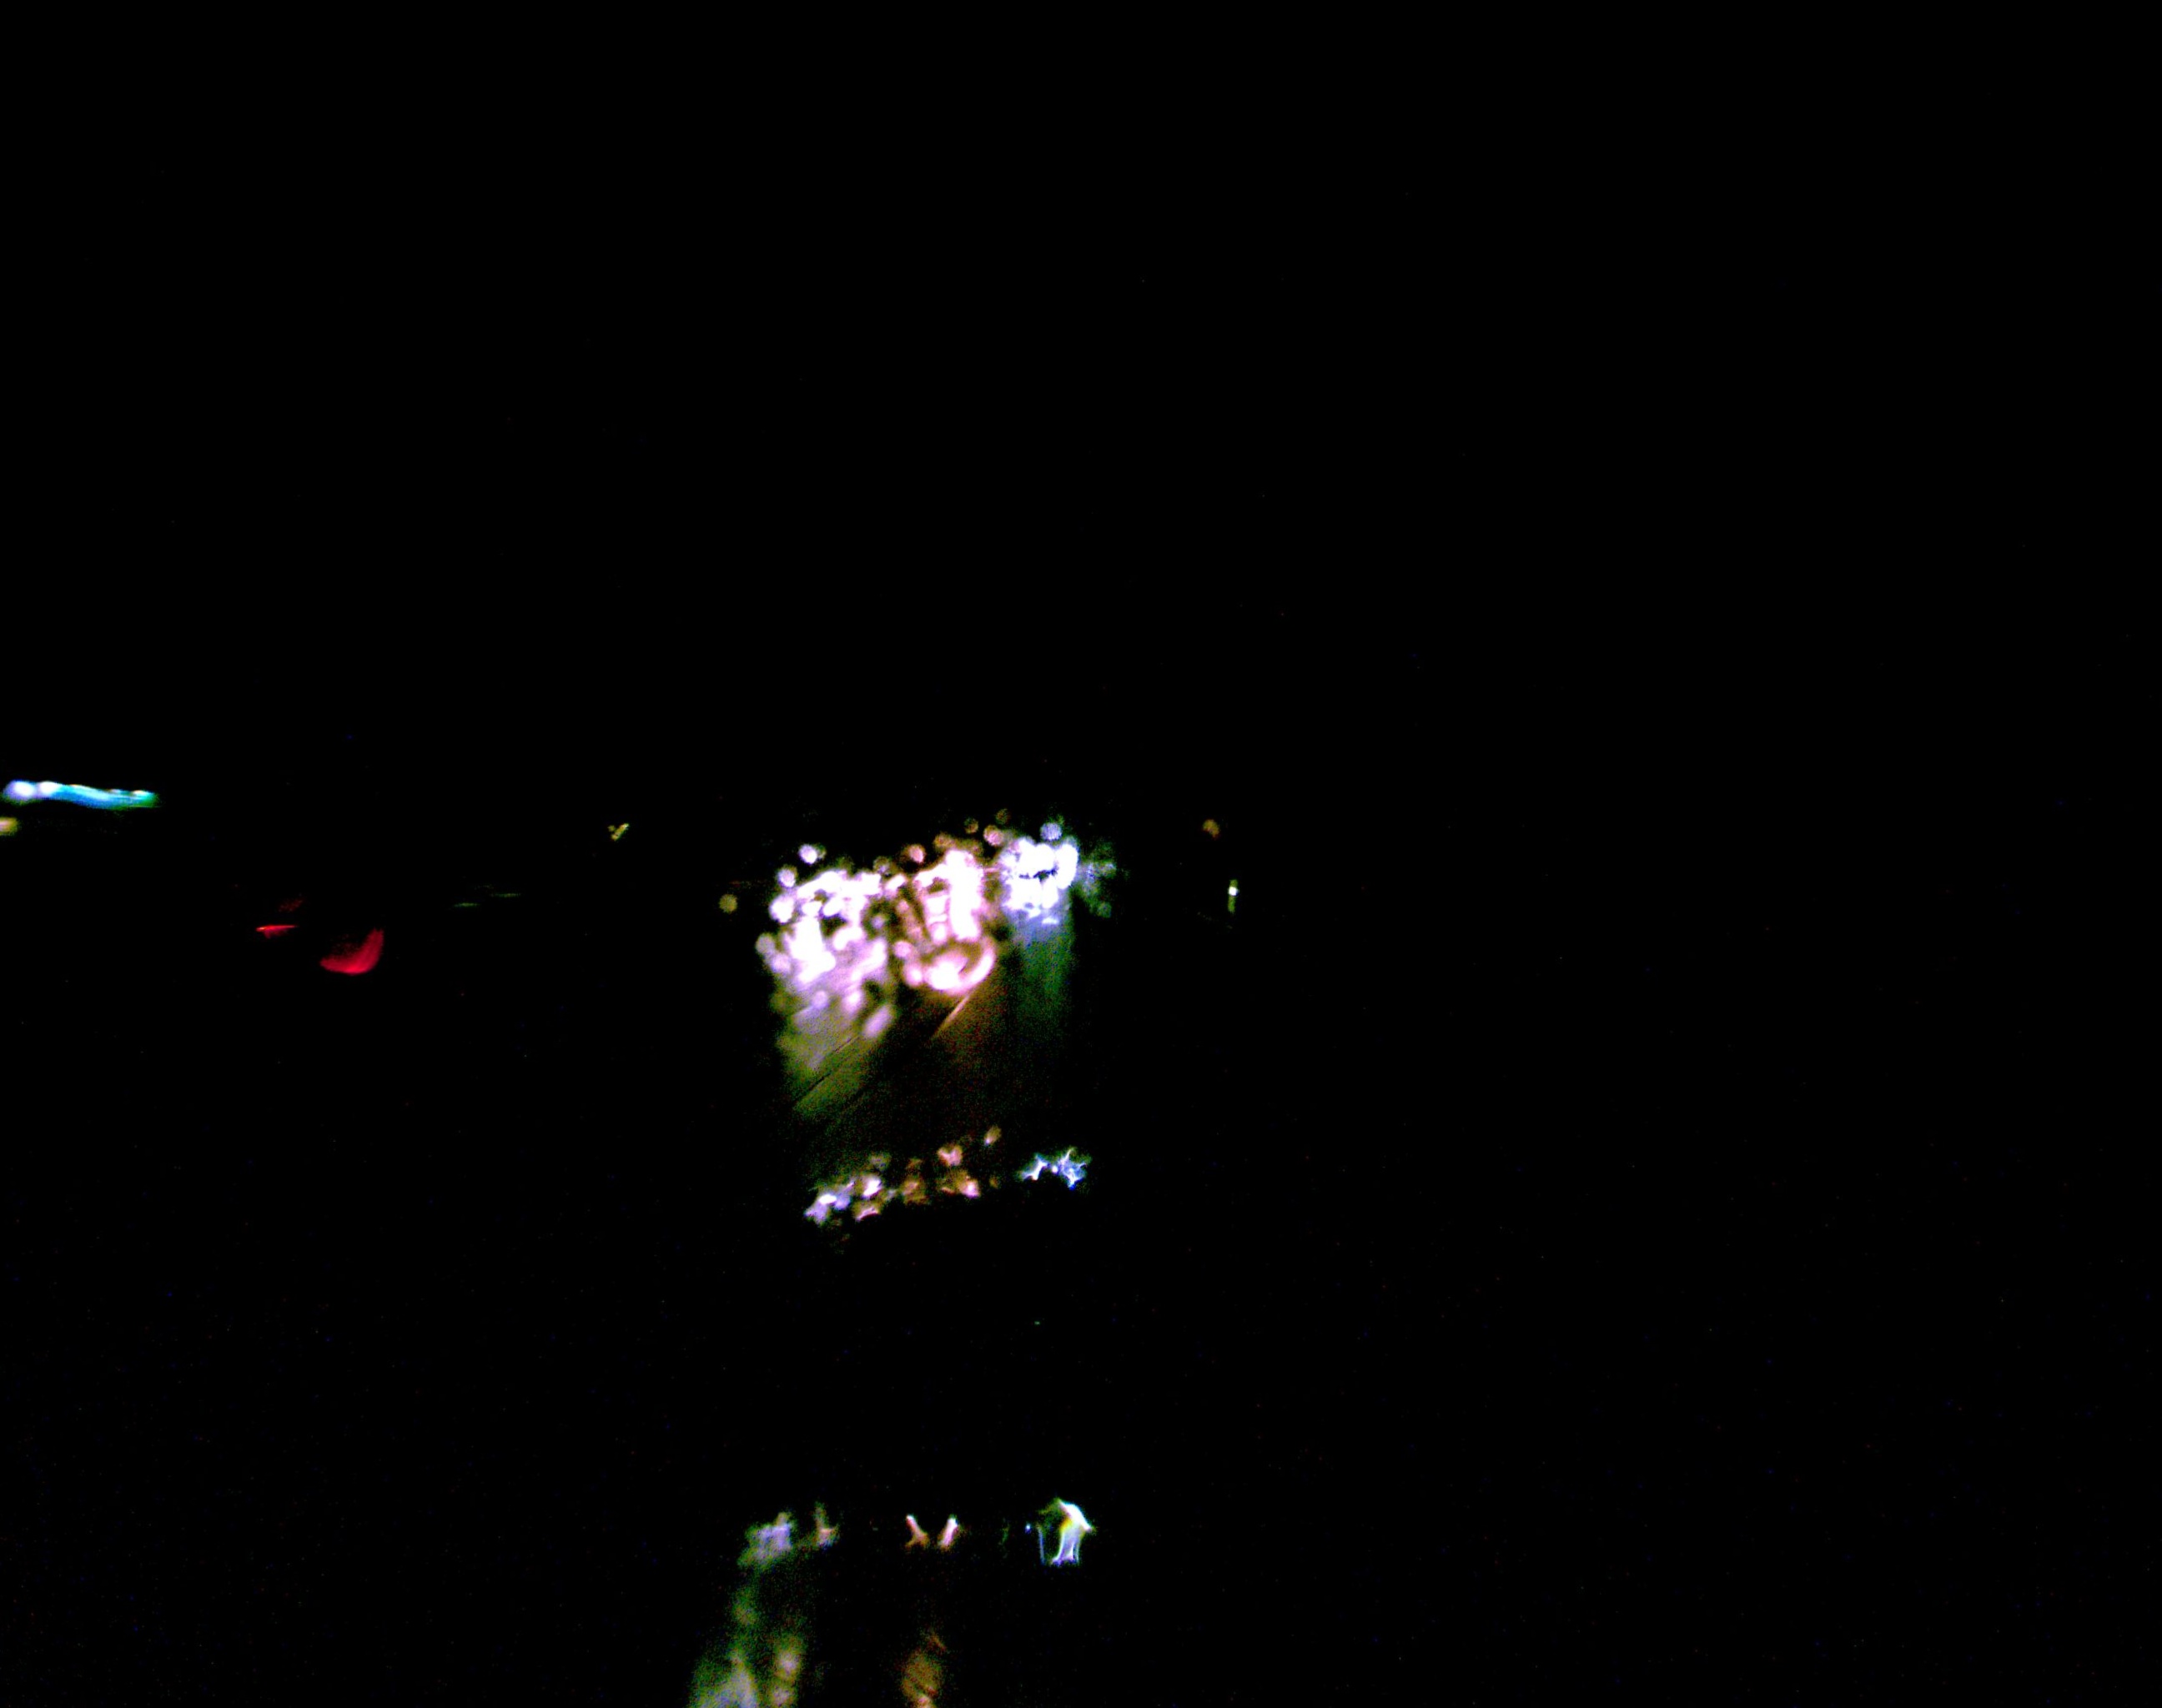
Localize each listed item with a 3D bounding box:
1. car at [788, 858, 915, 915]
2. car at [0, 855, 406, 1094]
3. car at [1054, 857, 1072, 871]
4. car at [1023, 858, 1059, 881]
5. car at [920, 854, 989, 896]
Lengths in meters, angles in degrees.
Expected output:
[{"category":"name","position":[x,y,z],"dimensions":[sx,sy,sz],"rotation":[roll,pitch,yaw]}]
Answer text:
[{"category":"car","position":[-6.789,0.899,24.745],"dimensions":[2.073,1.542,4.905],"rotation":[0,0,5]},{"category":"car","position":[-8.126,0.796,5.700],"dimensions":[2.171,1.558,5.211],"rotation":[0,0,5]},{"category":"car","position":[-2.088,1.185,96.300],"dimensions":[1.916,1.615,4.085],"rotation":[0,0,1]},{"category":"car","position":[-2.779,1.070,57.421],"dimensions":[2.102,1.575,4.682],"rotation":[0,0,2]},{"category":"car","position":[-5.905,0.932,38.761],"dimensions":[1.984,1.865,5.327],"rotation":[0,0,5]}]
